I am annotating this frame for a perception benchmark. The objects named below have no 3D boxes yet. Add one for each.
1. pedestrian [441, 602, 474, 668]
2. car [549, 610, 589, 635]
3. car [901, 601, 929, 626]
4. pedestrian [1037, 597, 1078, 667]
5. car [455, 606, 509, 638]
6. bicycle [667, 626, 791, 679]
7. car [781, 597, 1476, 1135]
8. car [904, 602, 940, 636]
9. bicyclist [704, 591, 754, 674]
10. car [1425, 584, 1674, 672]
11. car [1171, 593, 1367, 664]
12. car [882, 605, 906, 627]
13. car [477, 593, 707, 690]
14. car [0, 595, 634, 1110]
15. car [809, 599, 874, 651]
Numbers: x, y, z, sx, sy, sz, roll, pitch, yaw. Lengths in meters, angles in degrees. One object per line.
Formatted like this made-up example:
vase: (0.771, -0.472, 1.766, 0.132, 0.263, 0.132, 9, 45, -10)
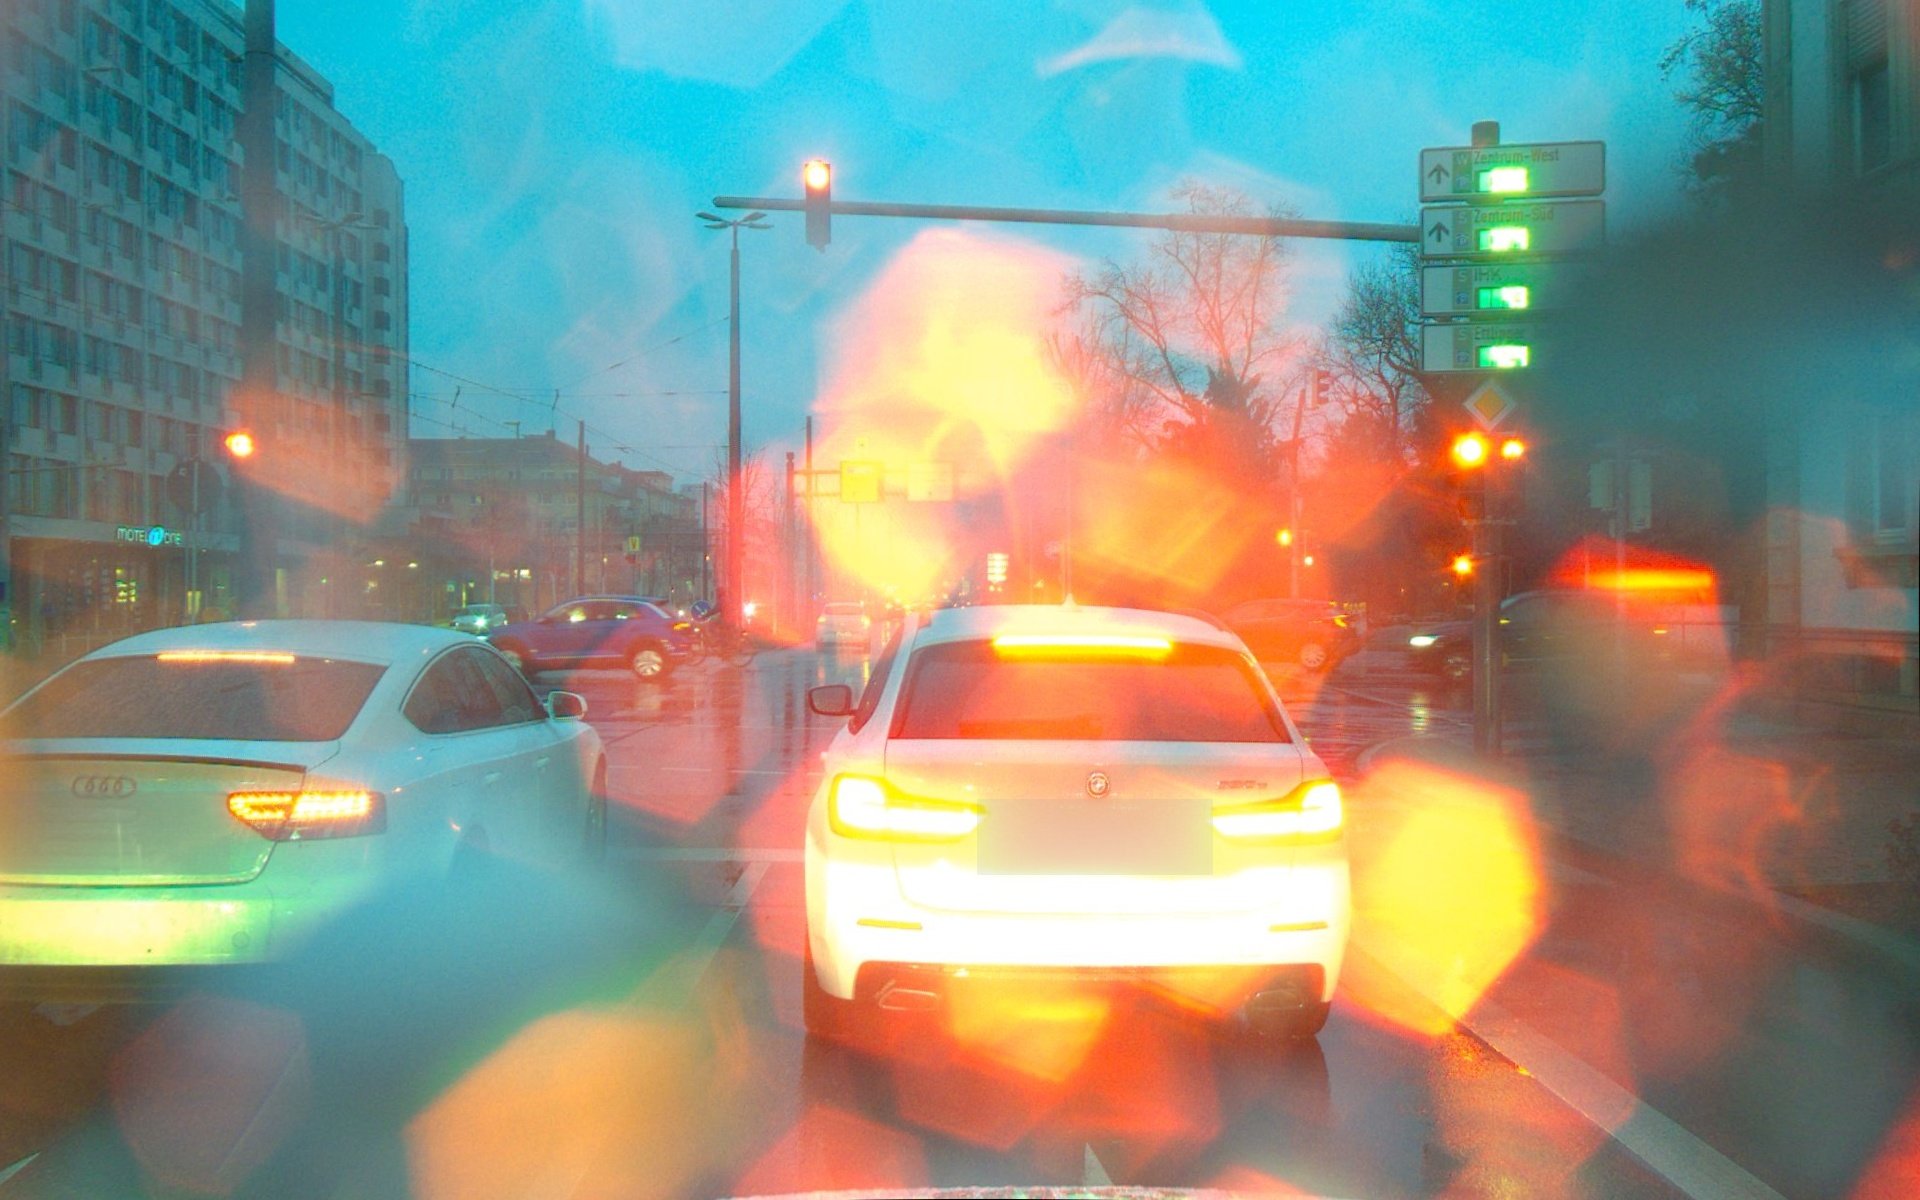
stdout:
pedestrian: (-13.412, 0.925, 44.133, 0.777, 1.741, 0.809, 2, -1, -16)
car: (-24.200, 1.391, 102.435, 1.641, 1.534, 3.695, 1, -1, -1)
car: (-3.120, 0.946, 114.288, 1.806, 1.637, 3.943, 1, -1, -2)
pedestrian: (2.679, 0.879, 45.366, 0.884, 1.888, 0.812, 1, -1, 23)
car: (-23.882, 1.117, 82.676, 1.641, 1.534, 3.695, 1, -1, -1)
bicycle: (-5.112, 1.158, 36.698, 2.613, 1.108, 0.814, 1, -1, -2)
car: (0.383, 0.738, 6.817, 1.954, 1.481, 4.366, 0, 0, -3)
car: (-1.966, 0.977, 84.793, 1.806, 1.637, 3.943, 1, -1, -2)
bicyclist: (-5.122, 0.719, 36.710, 0.952, 1.789, 0.813, 1, -1, -2)
car: (10.303, 0.478, 29.184, 4.006, 1.466, 1.841, 0, -1, 16)
car: (6.797, 0.612, 36.367, 3.907, 1.426, 1.756, 1, -1, 25)
car: (-5.164, 1.263, 129.700, 1.806, 1.637, 3.943, 1, -1, -2)
car: (-6.800, 0.765, 30.868, 3.907, 1.651, 1.718, 1, -1, -2)
car: (-2.698, 0.731, 6.988, 1.954, 1.481, 4.366, 0, 0, -3)
car: (-3.813, 0.789, 52.734, 1.711, 1.581, 3.960, 2, -1, -9)
